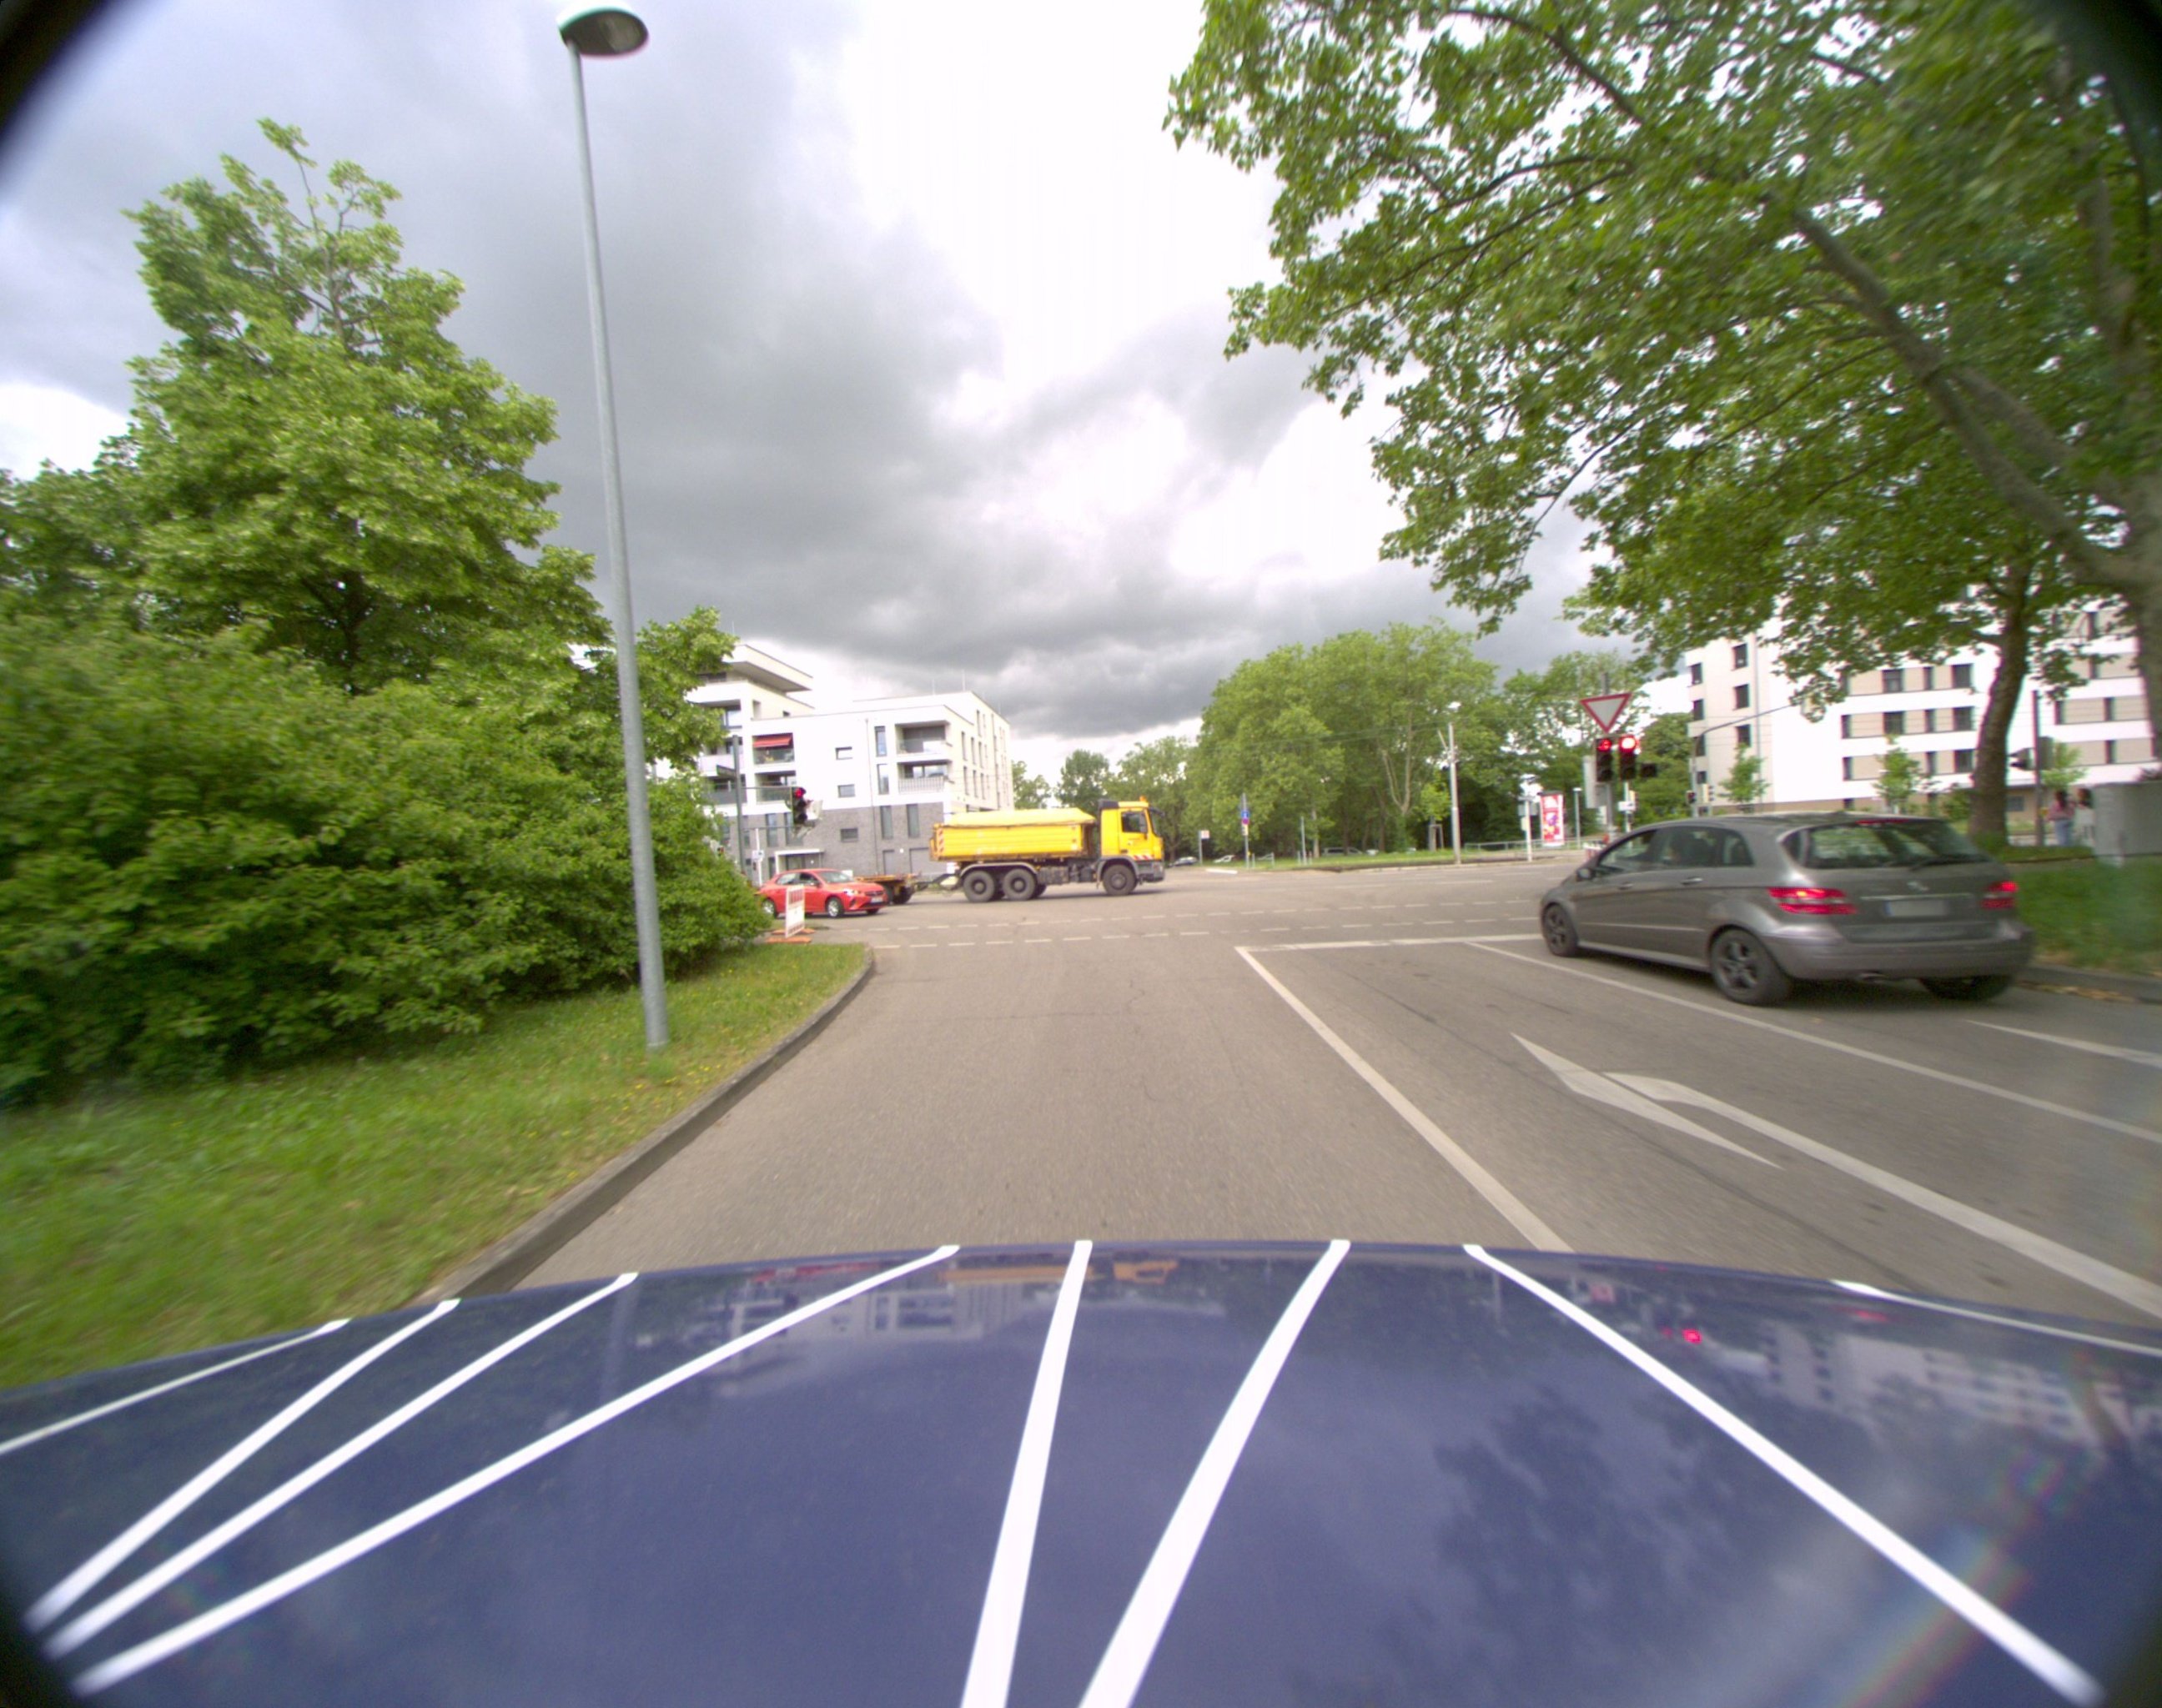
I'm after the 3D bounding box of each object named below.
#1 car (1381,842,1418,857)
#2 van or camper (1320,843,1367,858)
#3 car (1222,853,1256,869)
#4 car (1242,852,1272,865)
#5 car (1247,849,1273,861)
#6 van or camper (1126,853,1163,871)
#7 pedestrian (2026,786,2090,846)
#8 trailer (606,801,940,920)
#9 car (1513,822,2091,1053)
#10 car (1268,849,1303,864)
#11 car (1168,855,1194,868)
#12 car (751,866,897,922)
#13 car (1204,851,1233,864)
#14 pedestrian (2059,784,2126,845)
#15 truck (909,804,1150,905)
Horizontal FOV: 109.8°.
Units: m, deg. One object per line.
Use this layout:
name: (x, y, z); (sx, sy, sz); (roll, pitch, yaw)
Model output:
car: (40.215, -0.600, 95.973); (3.806, 1.639, 1.700); (-4, 1, 1)
van or camper: (31.491, -0.378, 91.135); (5.001, 1.524, 1.865); (-3, 0, 5)
car: (19.050, 0.834, 91.721); (3.781, 1.652, 1.665); (-2, 1, 5)
car: (23.090, 0.594, 100.005); (3.621, 1.652, 1.665); (-2, 1, 6)
car: (23.047, 0.086, 97.667); (3.135, 1.336, 1.448); (-3, 0, 12)
van or camper: (8.393, 1.046, 99.792); (4.553, 2.013, 2.049); (-3, 0, 12)
pedestrian: (24.899, -0.953, 19.376); (0.698, 1.480, 0.688); (-2, 1, 8)
trailer: (-10.862, 0.264, 27.188); (10.901, 3.501, 2.716); (-3, 1, 6)
car: (6.332, 0.578, 7.575); (1.771, 1.577, 4.413); (-2, 1, 4)
car: (24.655, 0.252, 91.594); (3.781, 1.652, 1.665); (-2, 1, 4)
car: (13.020, 0.977, 98.710); (3.135, 1.493, 1.606); (-3, 0, 12)
car: (-7.613, 1.175, 22.488); (3.990, 1.471, 1.696); (-2, 1, 26)
car: (17.808, 0.440, 98.553); (3.591, 1.528, 1.875); (-3, 0, 12)
pedestrian: (25.642, -0.978, 19.273); (0.698, 1.480, 0.720); (-2, 1, 9)
truck: (-1.617, 0.032, 26.163); (7.769, 2.986, 2.730); (-2, 1, 6)
